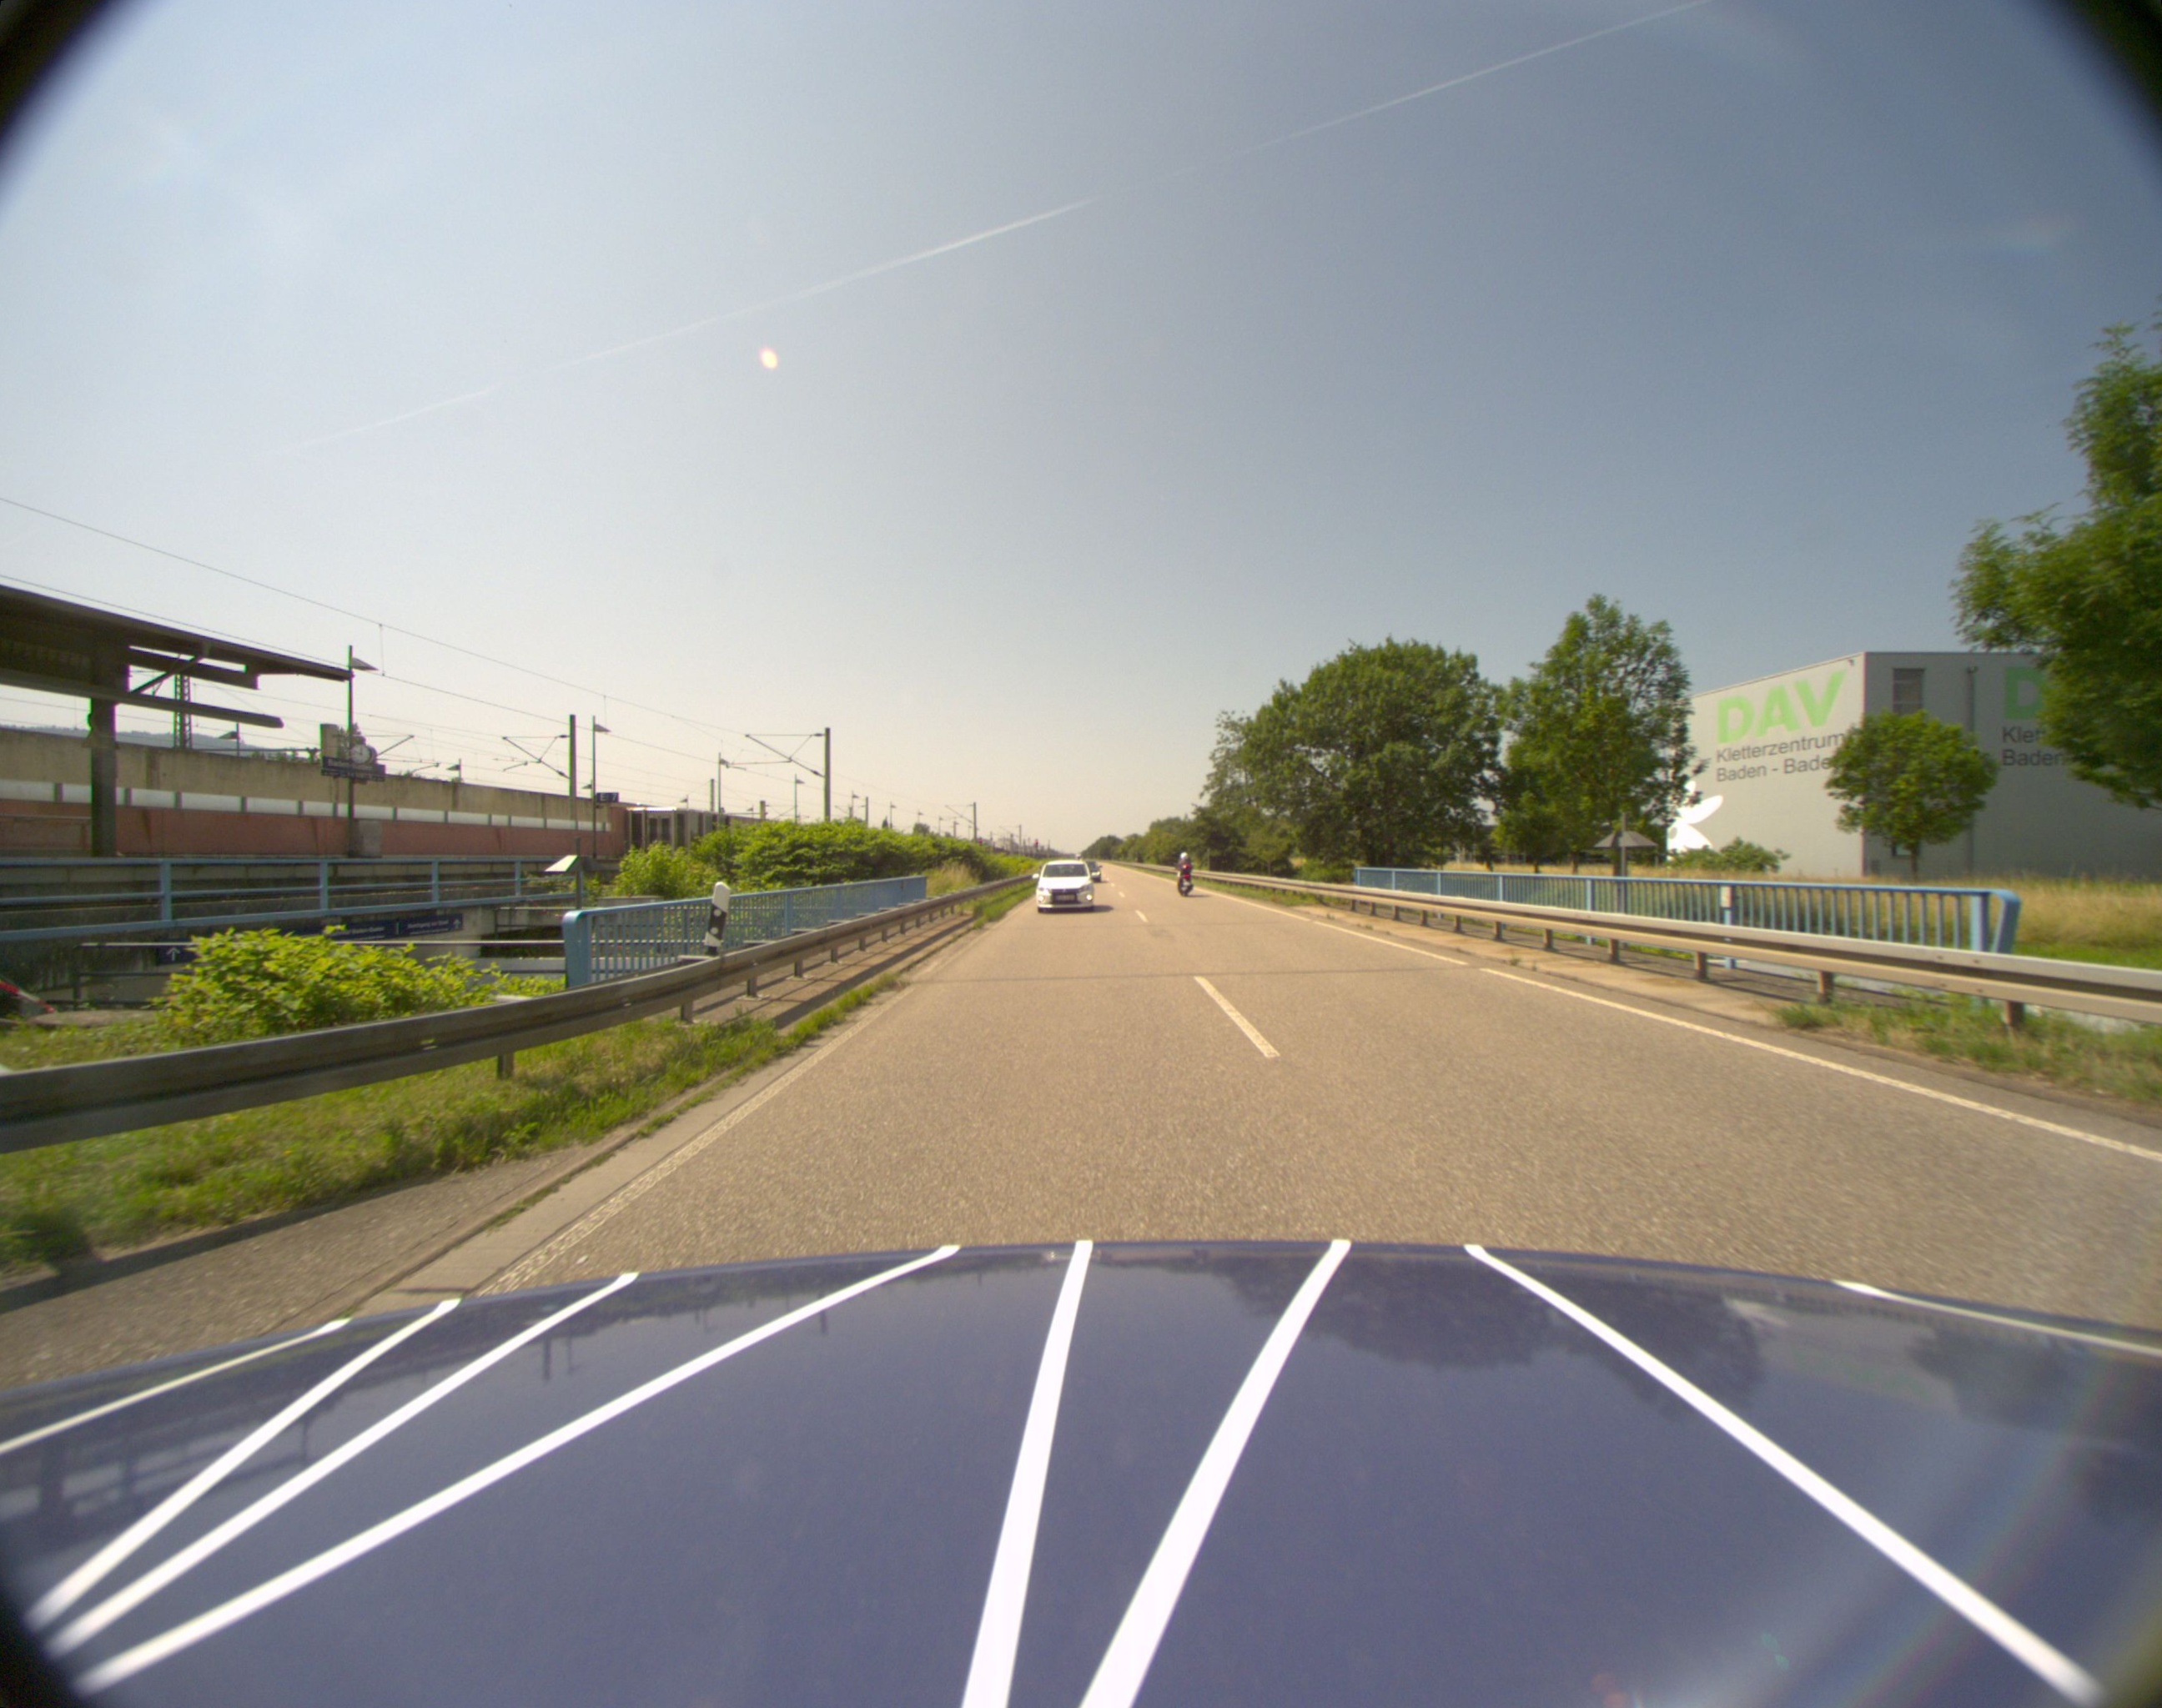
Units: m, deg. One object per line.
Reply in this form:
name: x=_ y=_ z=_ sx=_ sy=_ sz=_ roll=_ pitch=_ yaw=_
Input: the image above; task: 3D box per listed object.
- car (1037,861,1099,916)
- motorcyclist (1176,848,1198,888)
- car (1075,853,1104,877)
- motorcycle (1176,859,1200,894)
car: x=-0.412 y=0.980 z=23.090 sx=1.701 sy=1.470 sz=4.155 roll=-1 pitch=0 yaw=-2
motorcyclist: x=4.003 y=0.519 z=28.744 sx=0.728 sy=1.456 sz=0.987 roll=-1 pitch=0 yaw=3
car: x=0.501 y=0.706 z=49.195 sx=1.711 sy=1.470 sz=4.155 roll=-1 pitch=0 yaw=-2
motorcycle: x=4.010 y=0.825 z=28.650 sx=0.690 sy=1.227 sz=2.370 roll=-2 pitch=0 yaw=3
